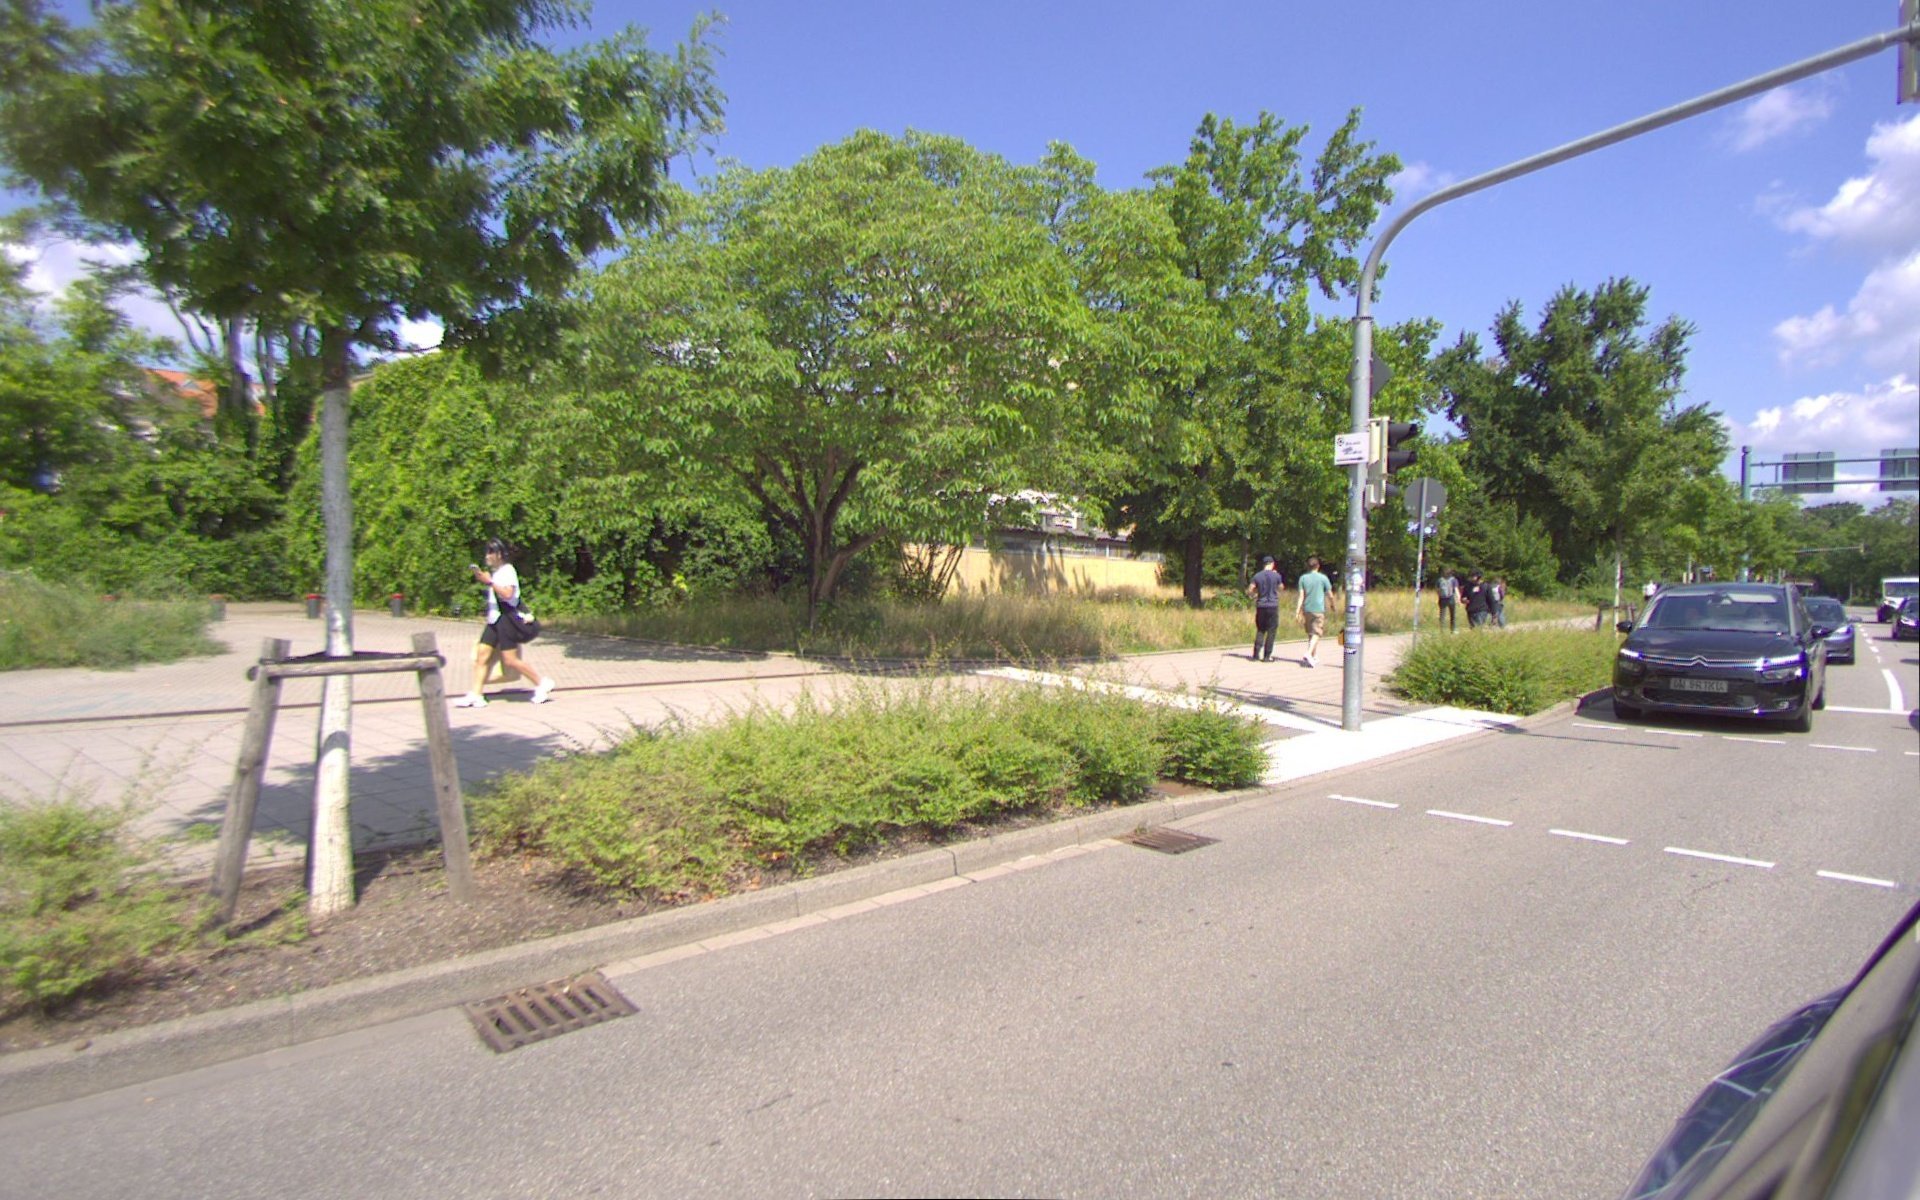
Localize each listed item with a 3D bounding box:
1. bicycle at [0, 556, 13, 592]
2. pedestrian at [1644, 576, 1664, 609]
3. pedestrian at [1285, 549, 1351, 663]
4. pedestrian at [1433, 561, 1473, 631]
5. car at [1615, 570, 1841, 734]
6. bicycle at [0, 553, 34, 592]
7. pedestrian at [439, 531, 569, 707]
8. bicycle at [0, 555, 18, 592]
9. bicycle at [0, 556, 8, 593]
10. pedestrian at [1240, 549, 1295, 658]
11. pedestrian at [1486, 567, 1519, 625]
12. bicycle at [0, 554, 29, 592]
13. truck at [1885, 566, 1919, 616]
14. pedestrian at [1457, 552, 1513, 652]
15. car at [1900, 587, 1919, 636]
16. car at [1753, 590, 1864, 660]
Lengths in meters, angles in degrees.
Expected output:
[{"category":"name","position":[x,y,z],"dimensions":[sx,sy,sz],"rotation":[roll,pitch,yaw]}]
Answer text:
[{"category":"bicycle","position":[-36.287,-0.947,37.019],"dimensions":[0.634,1.364,2.340],"rotation":[0,1,34]},{"category":"pedestrian","position":[37.855,-0.417,55.203],"dimensions":[0.841,1.787,0.829],"rotation":[0,0,41]},{"category":"pedestrian","position":[5.905,0.081,16.684],"dimensions":[0.747,1.799,0.870],"rotation":[3,2,35]},{"category":"pedestrian","position":[13.018,-0.113,26.715],"dimensions":[0.749,1.771,0.657],"rotation":[3,2,41]},{"category":"car","position":[9.564,0.525,12.459],"dimensions":[1.856,1.643,4.452],"rotation":[-1,-1,42]},{"category":"bicycle","position":[-34.028,-0.947,35.409],"dimensions":[0.634,1.364,2.340],"rotation":[0,1,34]},{"category":"pedestrian","position":[-4.441,0.156,9.876],"dimensions":[0.747,1.616,0.871],"rotation":[3,2,34]},{"category":"bicycle","position":[-35.739,-0.947,36.620],"dimensions":[0.634,1.364,2.340],"rotation":[0,1,34]},{"category":"bicycle","position":[-36.855,-0.946,37.412],"dimensions":[0.634,1.364,2.340],"rotation":[0,1,34]},{"category":"pedestrian","position":[5.168,0.043,16.991],"dimensions":[0.664,1.768,0.602],"rotation":[3,2,36]},{"category":"pedestrian","position":[17.040,-0.135,31.769],"dimensions":[0.666,1.771,0.865],"rotation":[3,2,41]},{"category":"bicycle","position":[-34.570,-0.947,35.790],"dimensions":[0.634,1.364,2.340],"rotation":[0,1,34]},{"category":"truck","position":[46.900,-0.418,49.312],"dimensions":[2.452,2.330,5.731],"rotation":[-1,-1,40]},{"category":"pedestrian","position":[9.678,0.028,18.646],"dimensions":[0.666,1.771,0.835],"rotation":[3,2,41]},{"category":"car","position":[31.653,0.334,32.530],"dimensions":[1.744,1.524,4.457],"rotation":[-1,-1,39]},{"category":"car","position":[19.194,0.517,22.989],"dimensions":[1.758,1.435,4.301],"rotation":[-1,-1,39]}]
